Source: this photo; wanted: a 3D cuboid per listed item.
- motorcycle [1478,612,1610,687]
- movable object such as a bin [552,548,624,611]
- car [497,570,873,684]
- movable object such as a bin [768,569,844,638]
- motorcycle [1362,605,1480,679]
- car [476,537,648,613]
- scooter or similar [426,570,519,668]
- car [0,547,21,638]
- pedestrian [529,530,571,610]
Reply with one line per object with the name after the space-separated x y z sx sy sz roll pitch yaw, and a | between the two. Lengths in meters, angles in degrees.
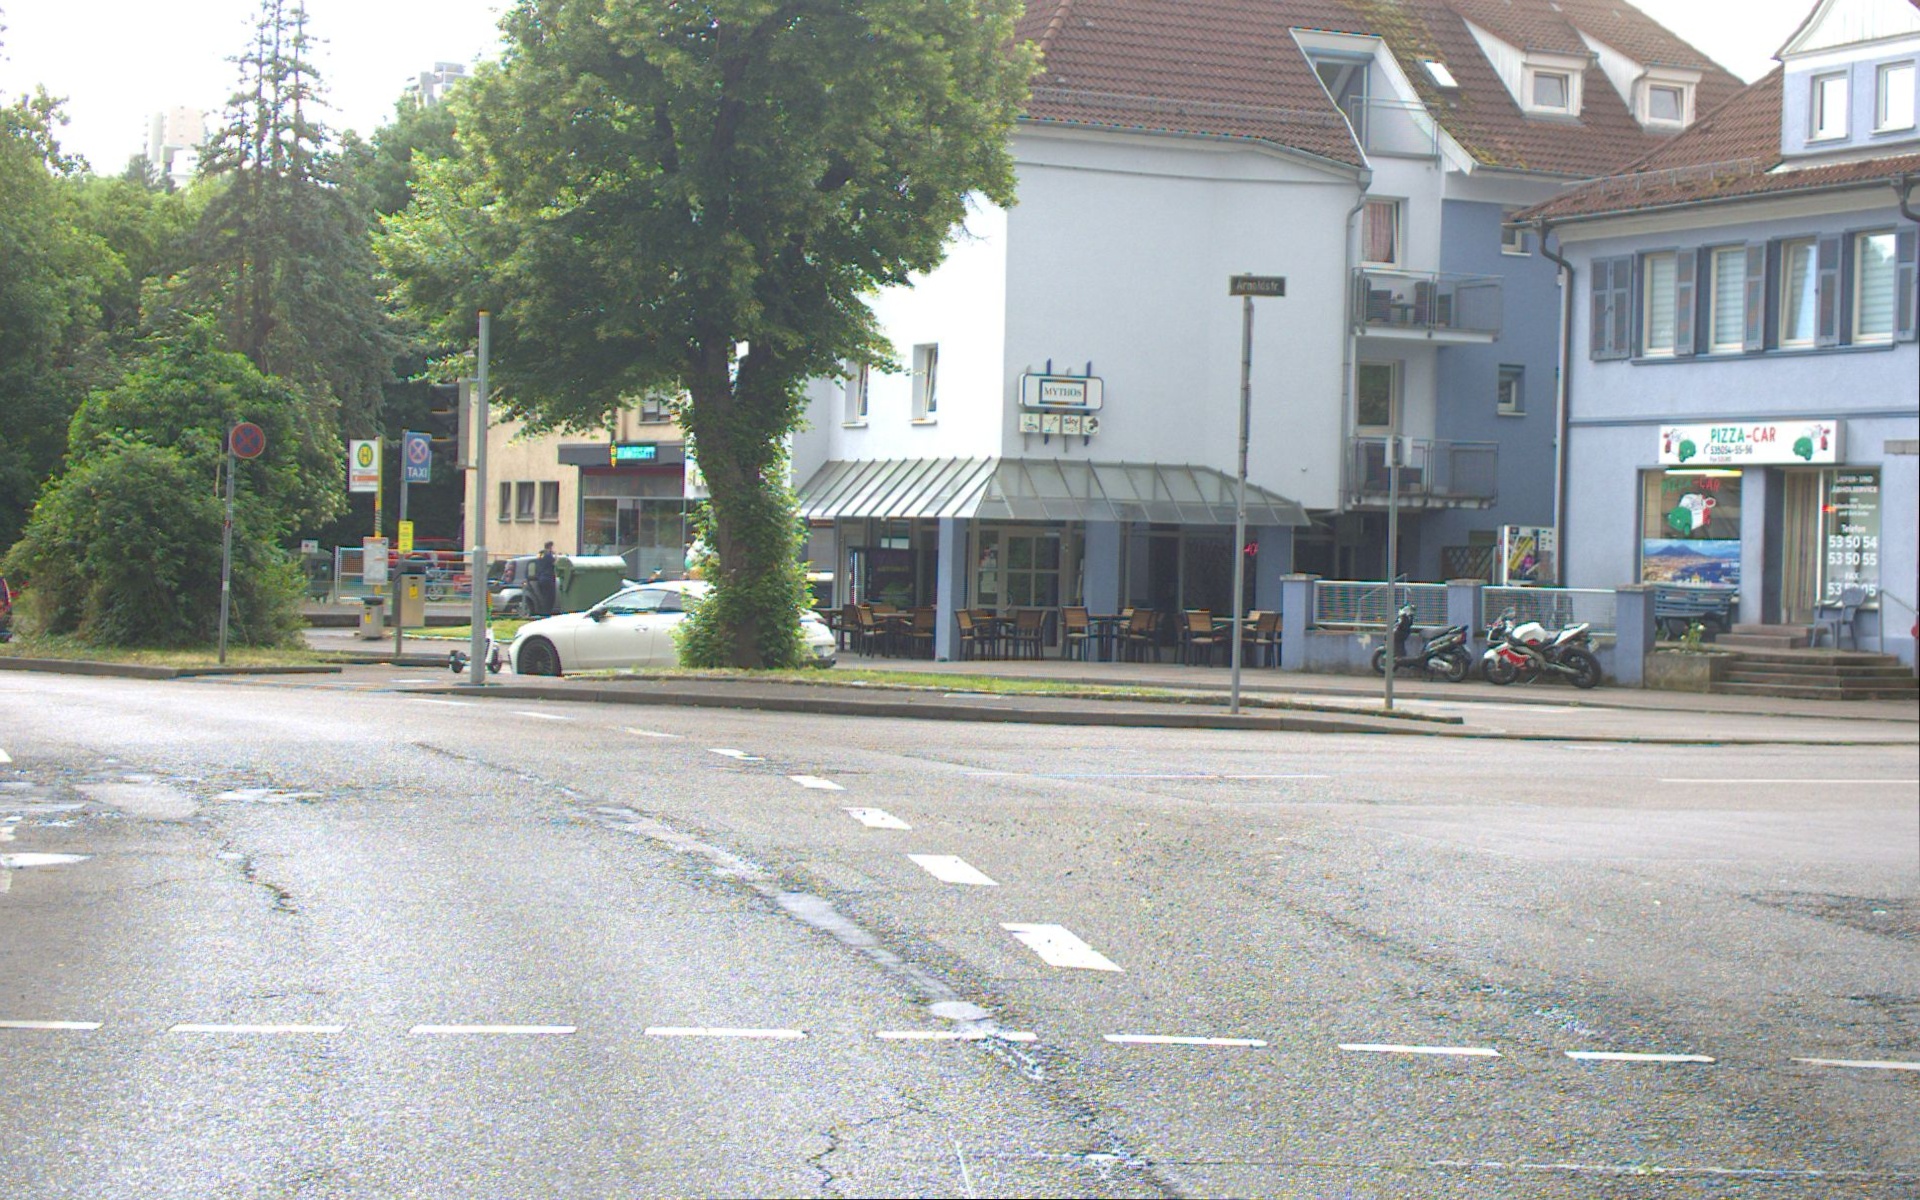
8.196 0.689 48.316 1.822 0.982 0.520 2 1 43 | motorcycle
-7.998 -0.445 73.899 1.216 1.340 0.995 1 1 -31 | movable object such as a bin
-3.688 0.330 45.767 4.782 1.382 1.996 1 1 34 | car
-3.154 0.063 70.455 1.214 1.390 1.161 1 0 -22 | movable object such as a bin
6.710 0.599 50.064 1.724 1.028 0.488 2 1 43 | motorcycle
-8.779 -0.552 75.833 3.412 1.625 1.625 1 1 -25 | car
-6.052 0.244 42.738 0.412 1.163 1.360 2 -2 26 | scooter or similar
-16.517 -0.184 53.576 3.489 1.399 1.571 3 1 28 | car
-8.889 -0.651 74.559 0.687 1.723 0.611 1 0 -32 | pedestrian
